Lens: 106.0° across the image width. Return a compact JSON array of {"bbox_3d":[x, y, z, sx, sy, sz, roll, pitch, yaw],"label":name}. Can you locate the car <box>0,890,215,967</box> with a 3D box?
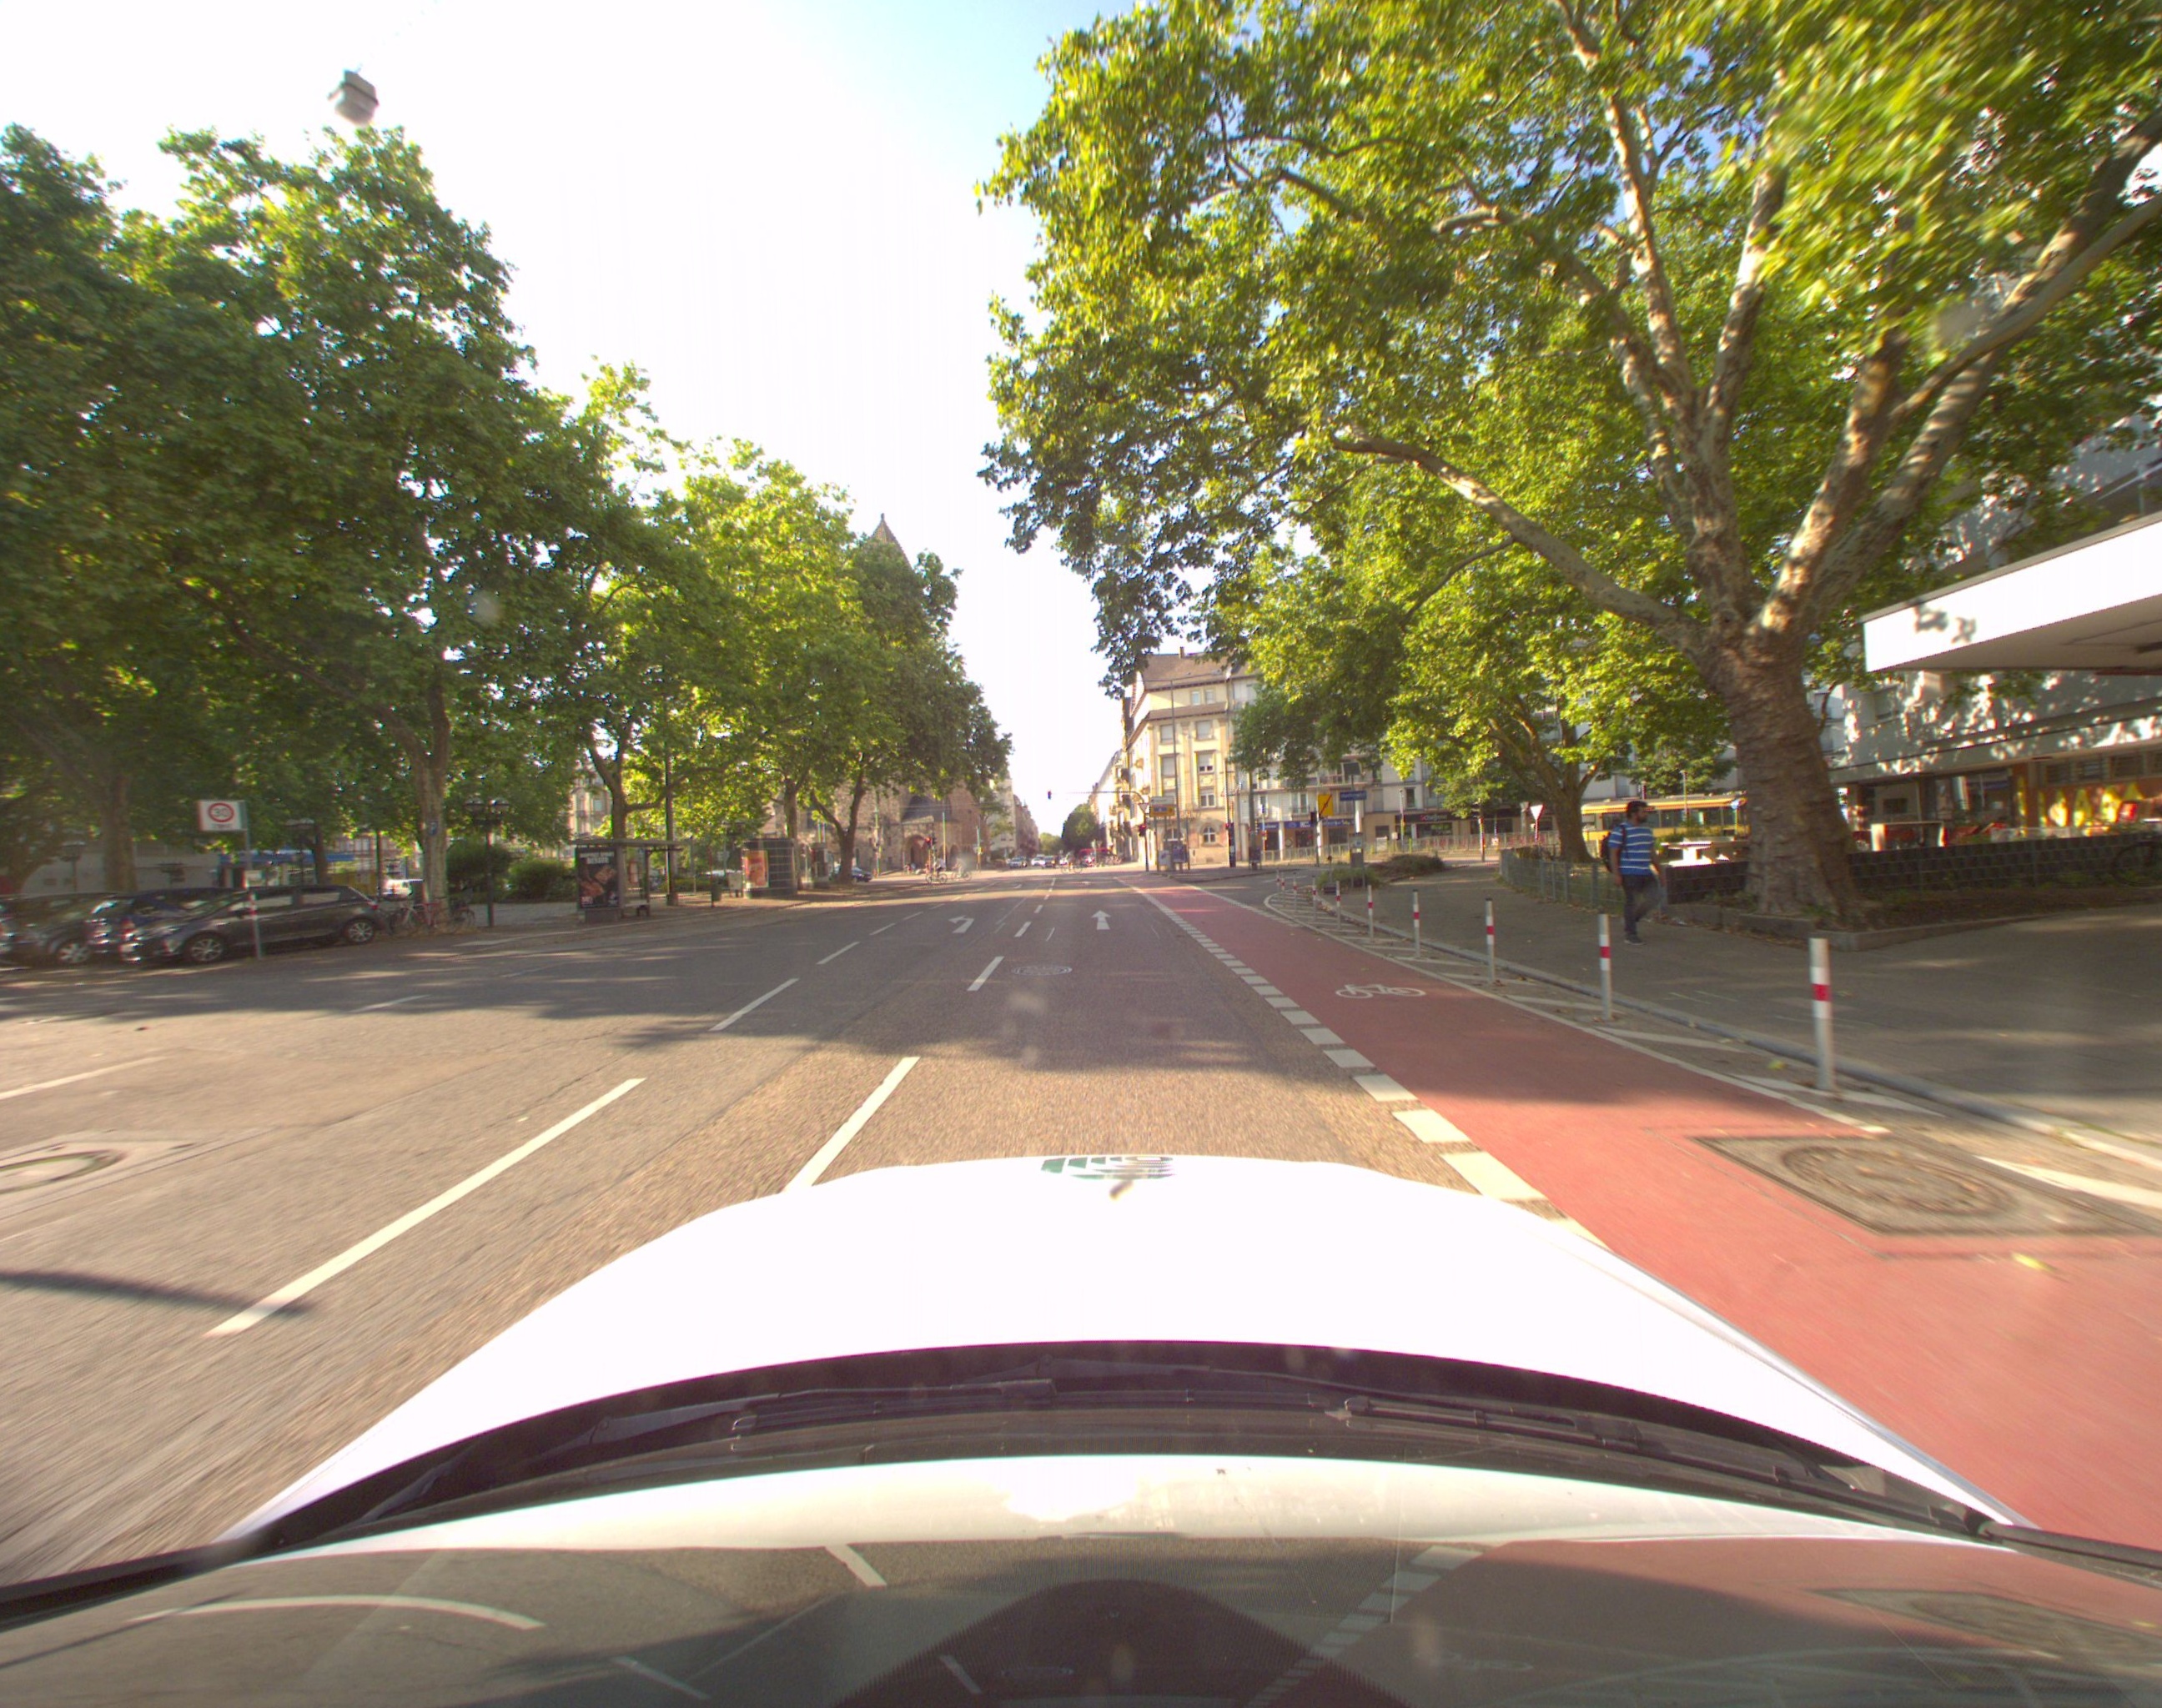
[{"bbox_3d":[-25.040,1.790,20.545,1.864,1.618,4.007,-1,-1,6],"label":"car"}]

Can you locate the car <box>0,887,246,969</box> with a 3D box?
[{"bbox_3d":[-22.865,1.656,19.272,1.864,1.618,4.007,-1,-1,6],"label":"car"}]

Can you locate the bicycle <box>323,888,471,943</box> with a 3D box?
[{"bbox_3d":[-16.511,1.434,19.841,0.715,1.145,3.293,-1,-1,2],"label":"bicycle"}]

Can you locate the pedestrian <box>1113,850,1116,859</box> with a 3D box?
[{"bbox_3d":[4.750,0.066,116.891,0.393,1.289,0.431,-1,-1,3],"label":"pedestrian"}]

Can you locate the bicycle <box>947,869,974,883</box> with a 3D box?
[{"bbox_3d":[-8.484,1.527,57.245,1.764,0.895,0.755,-3,0,28],"label":"bicycle"}]

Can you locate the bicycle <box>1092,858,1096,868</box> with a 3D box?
[{"bbox_3d":[1.558,1.095,99.556,0.506,1.203,2.092,-1,-1,1],"label":"bicycle"}]

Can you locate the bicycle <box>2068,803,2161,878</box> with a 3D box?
[{"bbox_3d":[17.185,-0.214,12.534,0.767,1.173,2.413,0,-1,-16],"label":"bicycle"}]

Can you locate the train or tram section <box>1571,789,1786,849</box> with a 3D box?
[{"bbox_3d":[41.523,-2.349,57.302,11.686,3.640,3.436,-1,-1,23],"label":"train or tram section"}]

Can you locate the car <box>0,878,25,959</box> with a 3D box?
[{"bbox_3d":[-40.622,2.356,27.634,1.635,2.910,5.594,-4,-2,23],"label":"car"}]

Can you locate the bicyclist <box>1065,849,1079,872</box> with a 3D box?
[{"bbox_3d":[-0.664,0.487,58.507,0.797,1.656,0.937,-1,-1,10],"label":"bicyclist"}]

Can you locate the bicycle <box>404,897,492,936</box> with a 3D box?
[{"bbox_3d":[-18.263,1.781,23.576,0.546,0.992,2.222,-1,-1,10],"label":"bicycle"}]

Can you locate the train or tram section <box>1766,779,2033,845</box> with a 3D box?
[{"bbox_3d":[52.387,-2.578,52.748,11.686,3.640,3.436,-1,-1,23],"label":"train or tram section"}]

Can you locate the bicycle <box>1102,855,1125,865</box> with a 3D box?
[{"bbox_3d":[3.932,0.740,98.309,2.798,1.203,0.509,-1,-1,-5],"label":"bicycle"}]

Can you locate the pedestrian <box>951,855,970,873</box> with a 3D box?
[{"bbox_3d":[-8.505,0.690,57.280,1.038,1.278,0.797,-1,-2,28],"label":"pedestrian"}]

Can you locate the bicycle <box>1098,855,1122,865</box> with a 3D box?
[{"bbox_3d":[3.490,0.741,97.529,2.798,1.203,0.516,-1,-1,-5],"label":"bicycle"}]

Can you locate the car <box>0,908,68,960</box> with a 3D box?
[{"bbox_3d":[-29.680,2.172,21.277,1.643,1.336,3.700,-1,-1,3],"label":"car"}]

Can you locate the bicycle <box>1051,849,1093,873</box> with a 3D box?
[{"bbox_3d":[-0.642,0.529,58.481,2.824,1.656,0.833,-1,-1,10],"label":"bicycle"}]

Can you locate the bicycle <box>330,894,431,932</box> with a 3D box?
[{"bbox_3d":[-20.884,1.742,24.318,0.544,0.992,2.230,-2,-2,40],"label":"bicycle"}]

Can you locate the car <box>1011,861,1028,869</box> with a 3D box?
[{"bbox_3d":[-9.922,1.766,131.656,1.581,1.144,3.399,-1,-1,17],"label":"car"}]

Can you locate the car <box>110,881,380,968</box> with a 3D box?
[{"bbox_3d":[-18.007,1.462,17.774,1.735,1.517,3.668,-3,0,21],"label":"car"}]

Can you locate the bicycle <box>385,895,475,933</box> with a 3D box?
[{"bbox_3d":[-18.843,1.718,23.642,0.546,0.992,2.222,-1,-1,10],"label":"bicycle"}]

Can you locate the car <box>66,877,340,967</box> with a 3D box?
[{"bbox_3d":[-20.561,1.515,19.363,1.864,1.617,4.008,-2,2,6],"label":"car"}]

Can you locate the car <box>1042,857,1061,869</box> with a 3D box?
[{"bbox_3d":[-3.808,1.173,105.290,1.574,1.462,3.197,-1,-1,16],"label":"car"}]

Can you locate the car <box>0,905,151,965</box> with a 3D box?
[{"bbox_3d":[-27.383,2.098,21.337,1.643,1.336,3.700,-1,-1,3],"label":"car"}]

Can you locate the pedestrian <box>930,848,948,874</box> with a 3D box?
[{"bbox_3d":[-9.691,0.481,55.497,0.982,1.708,0.631,-1,-2,23],"label":"pedestrian"}]

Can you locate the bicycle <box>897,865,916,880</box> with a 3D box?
[{"bbox_3d":[-21.110,2.187,98.609,1.280,1.750,4.004,-1,-1,4],"label":"bicycle"}]

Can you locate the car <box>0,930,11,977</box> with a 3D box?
[{"bbox_3d":[-32.184,2.861,21.952,1.643,1.336,3.700,-1,-1,3],"label":"car"}]

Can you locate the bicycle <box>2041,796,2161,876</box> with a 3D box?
[{"bbox_3d":[16.225,-0.262,12.109,0.767,1.173,2.413,0,-1,-16],"label":"bicycle"}]

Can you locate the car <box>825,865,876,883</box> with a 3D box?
[{"bbox_3d":[-19.459,1.679,68.668,3.893,1.397,1.661,-1,-1,19],"label":"car"}]

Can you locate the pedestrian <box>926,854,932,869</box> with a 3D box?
[{"bbox_3d":[-18.502,0.903,99.089,0.608,1.790,0.710,-1,-1,0],"label":"pedestrian"}]

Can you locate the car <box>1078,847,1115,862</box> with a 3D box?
[{"bbox_3d":[2.235,0.067,116.473,5.026,2.014,2.143,0,-2,-37],"label":"car"}]

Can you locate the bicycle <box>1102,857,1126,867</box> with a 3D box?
[{"bbox_3d":[3.891,0.971,96.052,2.798,1.203,0.509,-1,-1,-5],"label":"bicycle"}]

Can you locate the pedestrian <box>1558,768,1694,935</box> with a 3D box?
[{"bbox_3d":[7.146,-0.017,10.752,0.824,2.013,1.153,-6,-2,2],"label":"pedestrian"}]

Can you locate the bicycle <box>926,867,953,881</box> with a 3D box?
[{"bbox_3d":[-9.645,1.368,55.468,1.768,0.982,0.660,-1,-1,22],"label":"bicycle"}]
